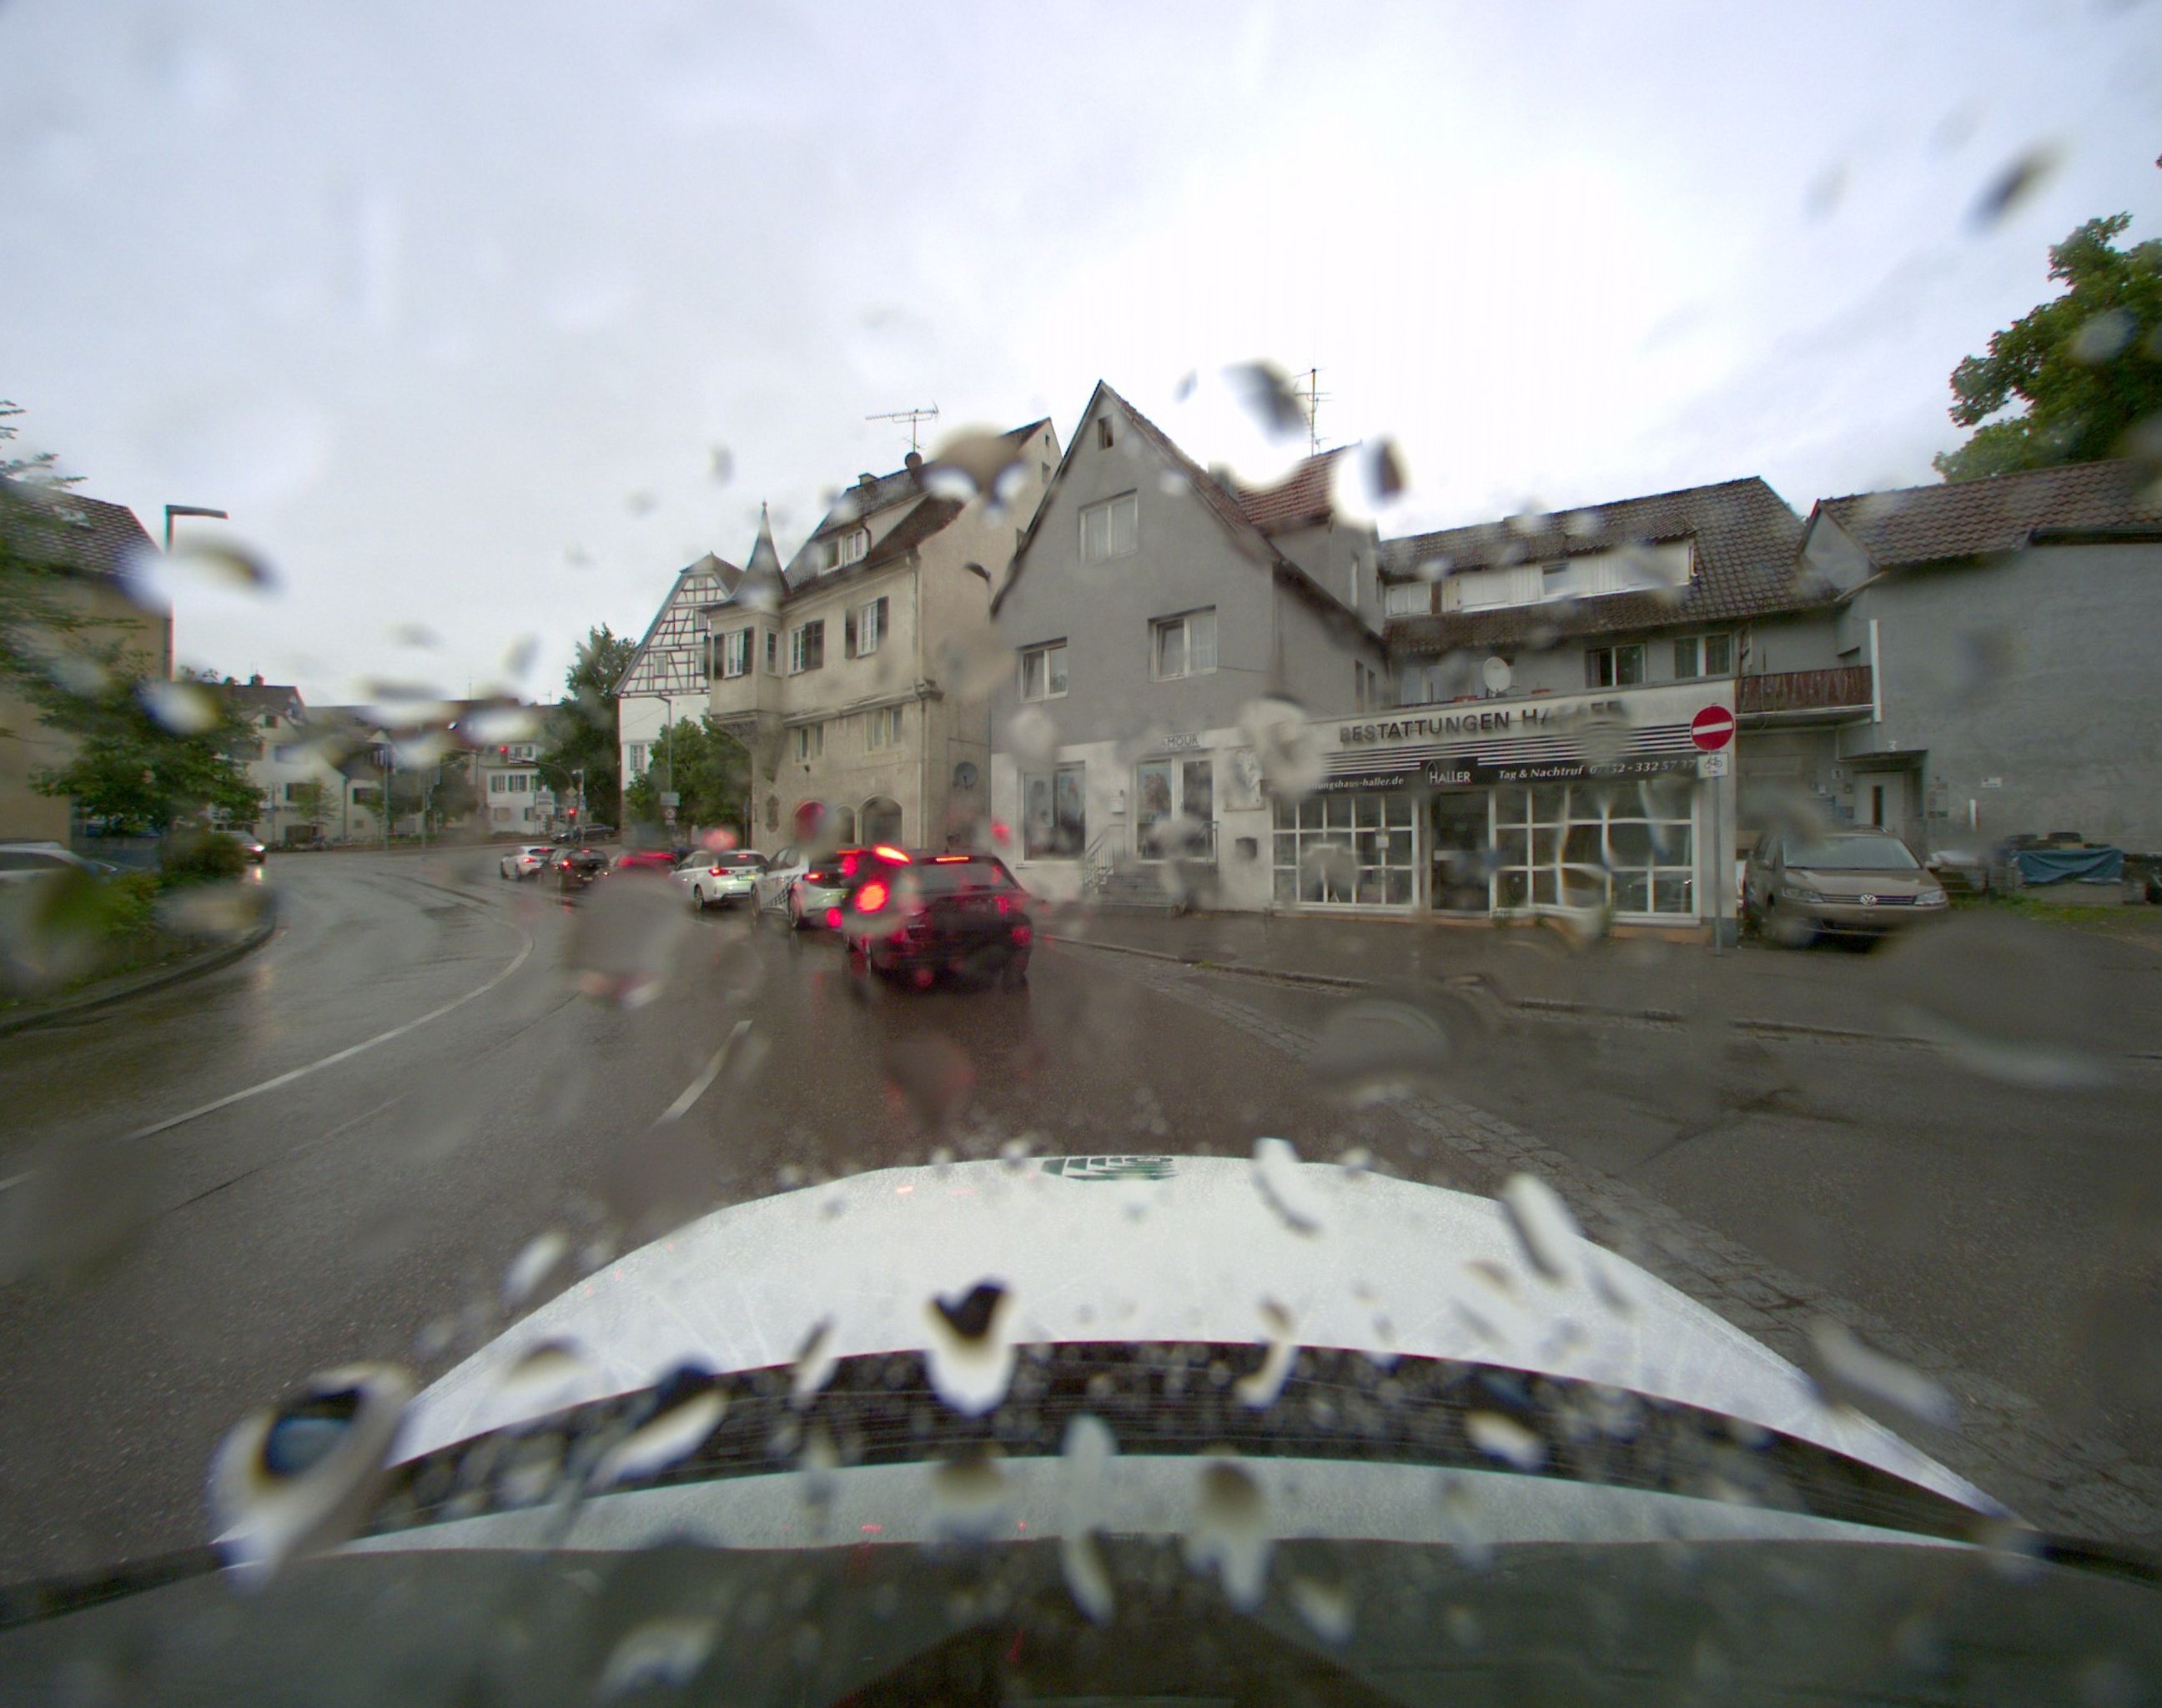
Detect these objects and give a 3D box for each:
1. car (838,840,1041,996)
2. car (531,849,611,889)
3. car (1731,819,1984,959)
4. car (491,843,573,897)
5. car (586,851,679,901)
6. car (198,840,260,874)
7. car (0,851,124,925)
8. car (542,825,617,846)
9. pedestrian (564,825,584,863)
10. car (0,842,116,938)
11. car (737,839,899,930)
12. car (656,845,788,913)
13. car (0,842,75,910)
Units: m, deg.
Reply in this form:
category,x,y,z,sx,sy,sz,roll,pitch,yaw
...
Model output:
category,x,y,z,sx,sy,sz,roll,pitch,yaw
car,-1.973,0.587,10.189,1.738,1.450,4.212,-2,2,-21
car,-18.847,0.507,30.055,3.579,1.312,1.678,1,3,44
car,11.690,0.358,12.670,1.905,1.727,4.699,0,2,32
car,-23.538,0.613,34.893,3.911,2.090,1.992,1,3,42
car,-14.167,0.633,25.660,3.721,1.361,1.533,1,3,44
car,-41.013,0.160,39.287,1.747,1.510,4.221,-3,1,-42
car,-22.426,0.704,16.510,1.692,1.455,3.558,0,1,24
car,-37.573,-1.364,61.115,1.632,1.389,4.555,7,3,23
pedestrian,-31.538,-0.636,50.646,0.872,2.326,1.216,-1,0,-40
car,-20.162,0.661,14.444,1.692,1.685,3.558,0,1,24
car,-5.315,0.514,16.120,1.803,1.517,4.195,-3,1,-36
car,-9.161,0.541,20.617,1.801,1.465,4.114,-3,3,-42
car,-26.232,0.536,18.714,1.692,1.576,3.558,0,1,24
